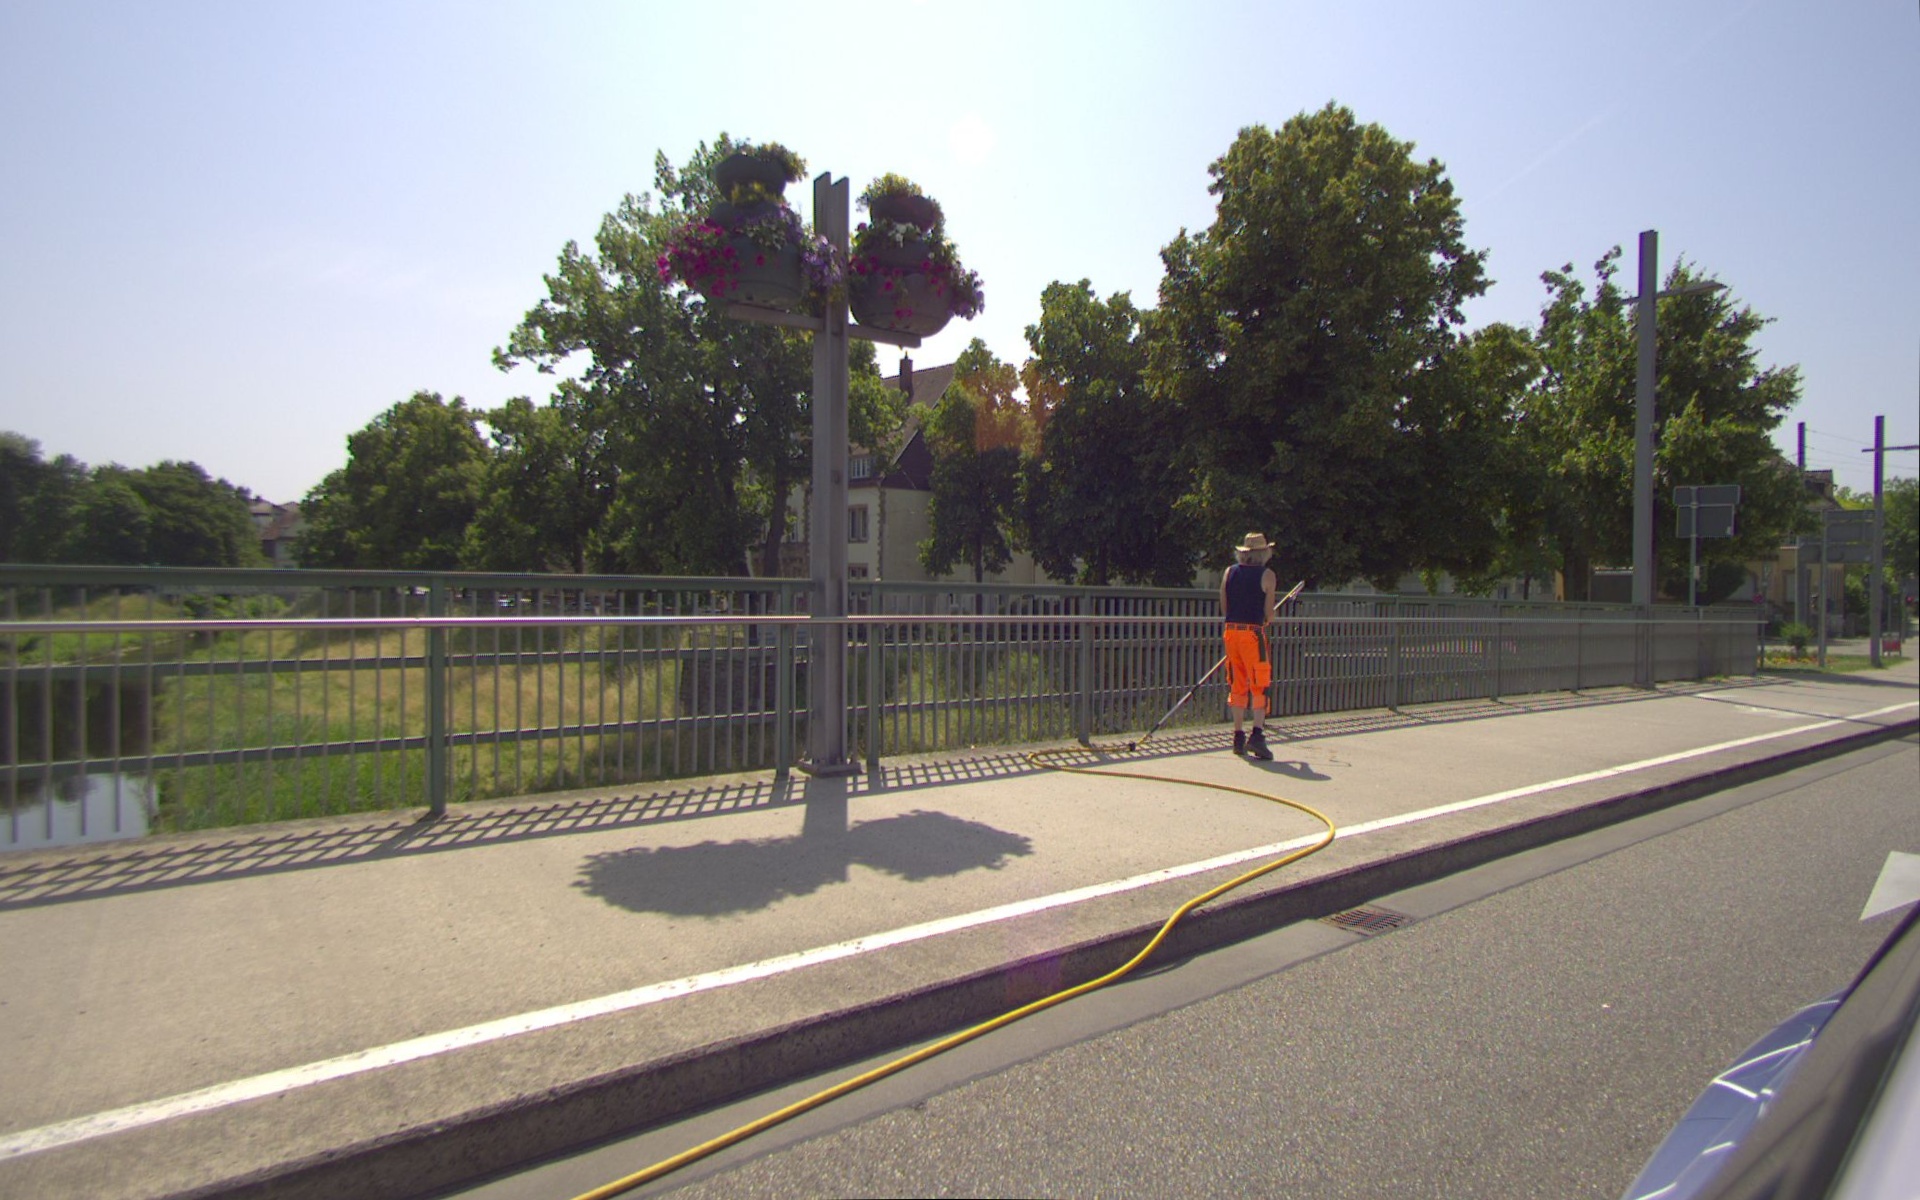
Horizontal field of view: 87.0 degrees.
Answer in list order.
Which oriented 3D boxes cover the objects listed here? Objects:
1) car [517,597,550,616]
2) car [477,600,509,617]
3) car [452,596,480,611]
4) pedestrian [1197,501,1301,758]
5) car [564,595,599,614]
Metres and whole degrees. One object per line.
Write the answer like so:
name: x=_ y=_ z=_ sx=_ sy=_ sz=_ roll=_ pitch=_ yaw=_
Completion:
car: x=-40.781 y=0.609 z=96.711 sx=1.796 sy=1.571 sz=3.995 roll=1 pitch=2 yaw=-41
car: x=-43.531 y=0.777 z=94.261 sx=1.563 sy=1.572 sz=3.740 roll=1 pitch=-1 yaw=-43
car: x=-53.619 y=0.365 z=109.880 sx=1.796 sy=1.572 sz=3.993 roll=1 pitch=-2 yaw=-41
pedestrian: x=2.345 y=0.216 z=8.213 sx=0.661 sy=1.984 sz=0.547 roll=-1 pitch=2 yaw=-43
car: x=-32.657 y=0.426 z=87.248 sx=1.563 sy=1.572 sz=3.740 roll=1 pitch=-1 yaw=-43
